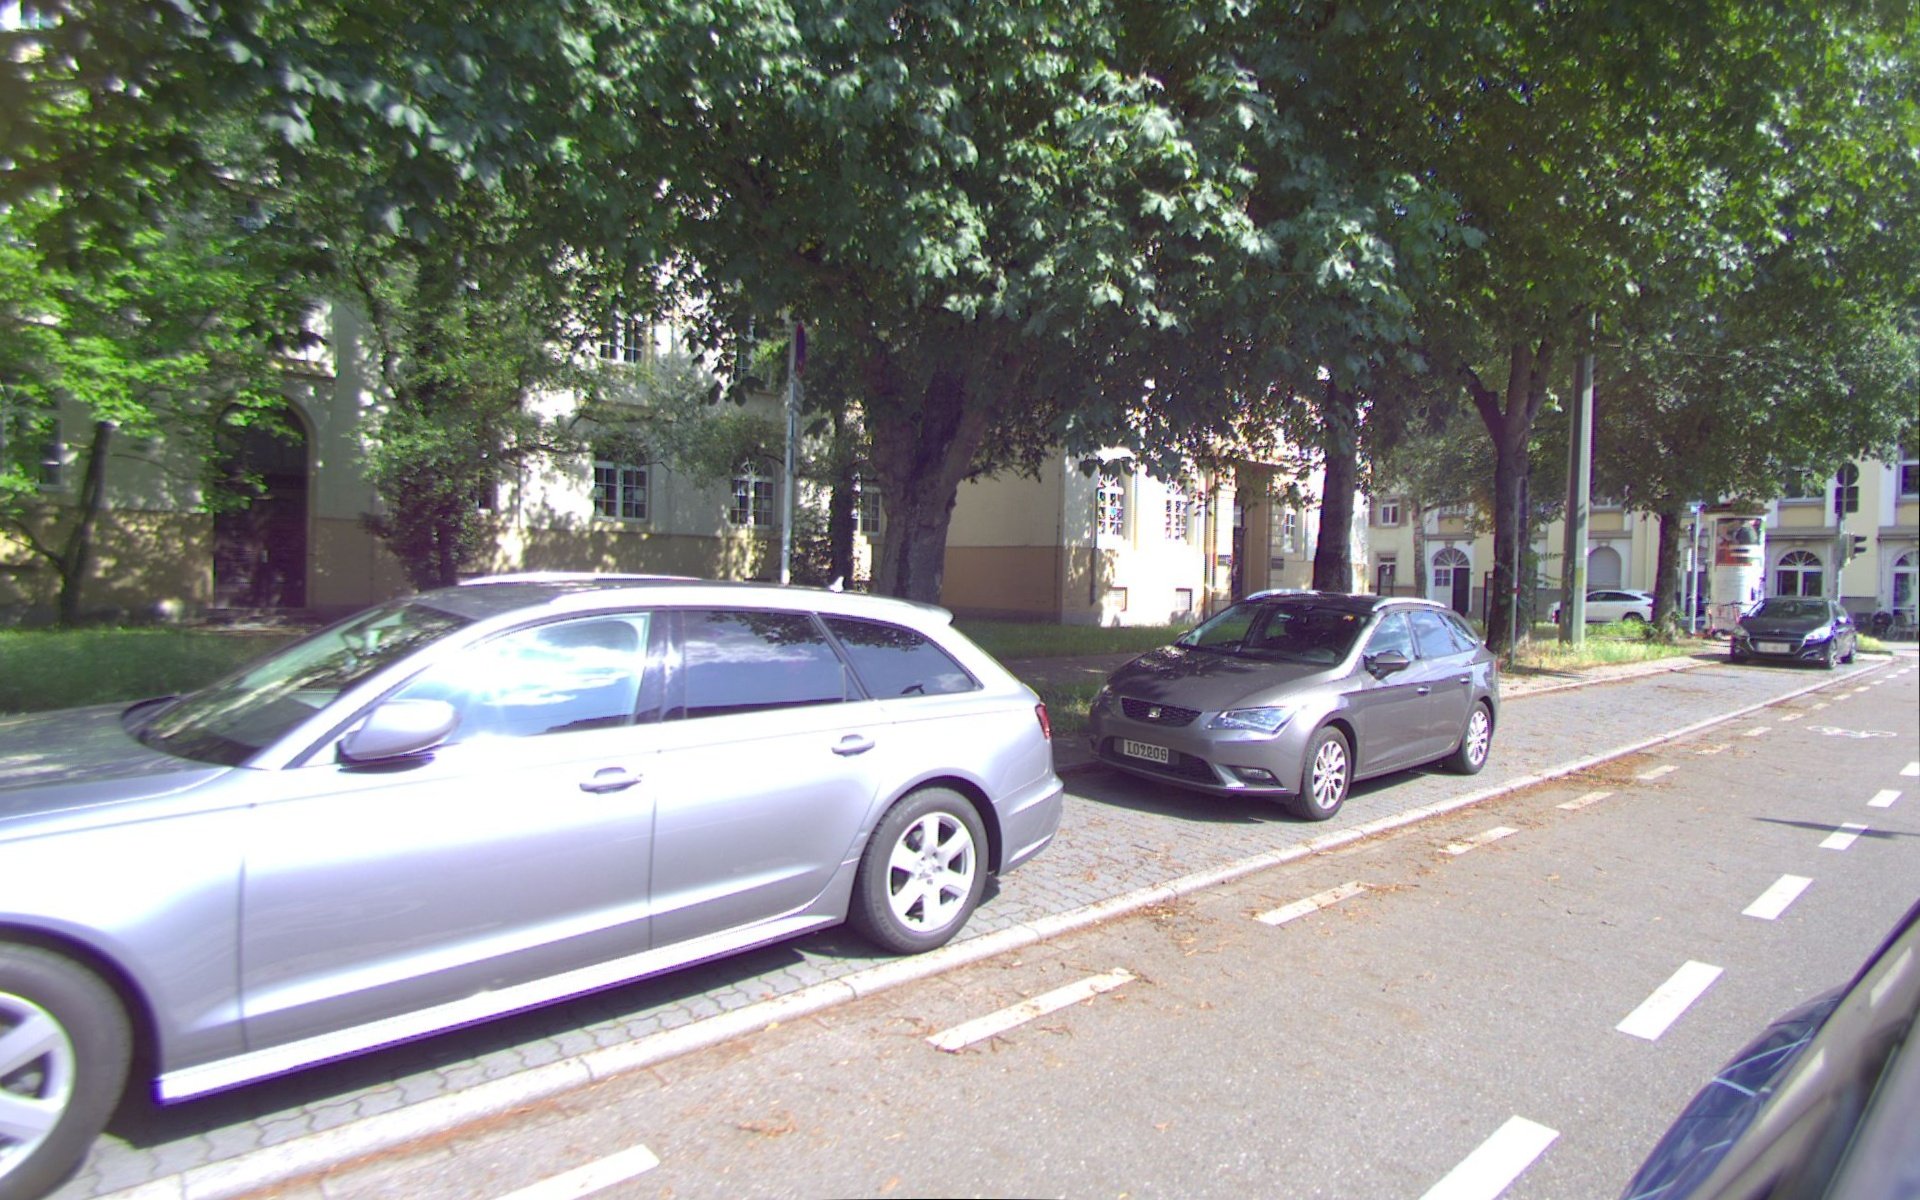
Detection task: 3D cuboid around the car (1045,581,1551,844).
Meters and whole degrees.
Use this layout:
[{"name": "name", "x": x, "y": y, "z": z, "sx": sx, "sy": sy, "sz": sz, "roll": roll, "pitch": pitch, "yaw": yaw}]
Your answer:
[{"name": "car", "x": 2.940, "y": 0.656, "z": 8.178, "sx": 4.578, "sy": 1.417, "sz": 1.832, "roll": 0, "pitch": 5, "yaw": -43}]

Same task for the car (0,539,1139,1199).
[{"name": "car", "x": -1.653, "y": 0.602, "z": 3.829, "sx": 4.961, "sy": 1.458, "sz": 1.833, "roll": 0, "pitch": 5, "yaw": -41}]

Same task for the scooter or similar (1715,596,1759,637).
[{"name": "scooter or similar", "x": 23.133, "y": 0.498, "z": 30.135, "sx": 1.103, "sy": 1.193, "sz": 0.415, "roll": 1, "pitch": -1, "yaw": -13}]

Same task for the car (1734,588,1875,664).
[{"name": "car", "x": 18.218, "y": 0.485, "z": 21.783, "sx": 3.856, "sy": 1.404, "sz": 1.689, "roll": -1, "pitch": 3, "yaw": -41}]

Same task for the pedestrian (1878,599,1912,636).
[{"name": "pedestrian", "x": 34.725, "y": 0.657, "z": 37.601, "sx": 0.745, "sy": 1.304, "sz": 0.804, "roll": -2, "pitch": 3, "yaw": -38}]

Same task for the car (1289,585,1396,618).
[{"name": "car", "x": 17.320, "y": 0.060, "z": 45.879, "sx": 4.095, "sy": 1.369, "sz": 1.860, "roll": 1, "pitch": 1, "yaw": -5}]

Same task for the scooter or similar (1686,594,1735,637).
[{"name": "scooter or similar", "x": 22.925, "y": 0.455, "z": 30.928, "sx": 0.437, "sy": 1.257, "sz": 1.110, "roll": 1, "pitch": 1, "yaw": -19}]

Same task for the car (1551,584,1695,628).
[{"name": "car", "x": 28.113, "y": 0.203, "z": 43.076, "sx": 1.820, "sy": 1.676, "sz": 4.841, "roll": -1, "pitch": 2, "yaw": -30}]
